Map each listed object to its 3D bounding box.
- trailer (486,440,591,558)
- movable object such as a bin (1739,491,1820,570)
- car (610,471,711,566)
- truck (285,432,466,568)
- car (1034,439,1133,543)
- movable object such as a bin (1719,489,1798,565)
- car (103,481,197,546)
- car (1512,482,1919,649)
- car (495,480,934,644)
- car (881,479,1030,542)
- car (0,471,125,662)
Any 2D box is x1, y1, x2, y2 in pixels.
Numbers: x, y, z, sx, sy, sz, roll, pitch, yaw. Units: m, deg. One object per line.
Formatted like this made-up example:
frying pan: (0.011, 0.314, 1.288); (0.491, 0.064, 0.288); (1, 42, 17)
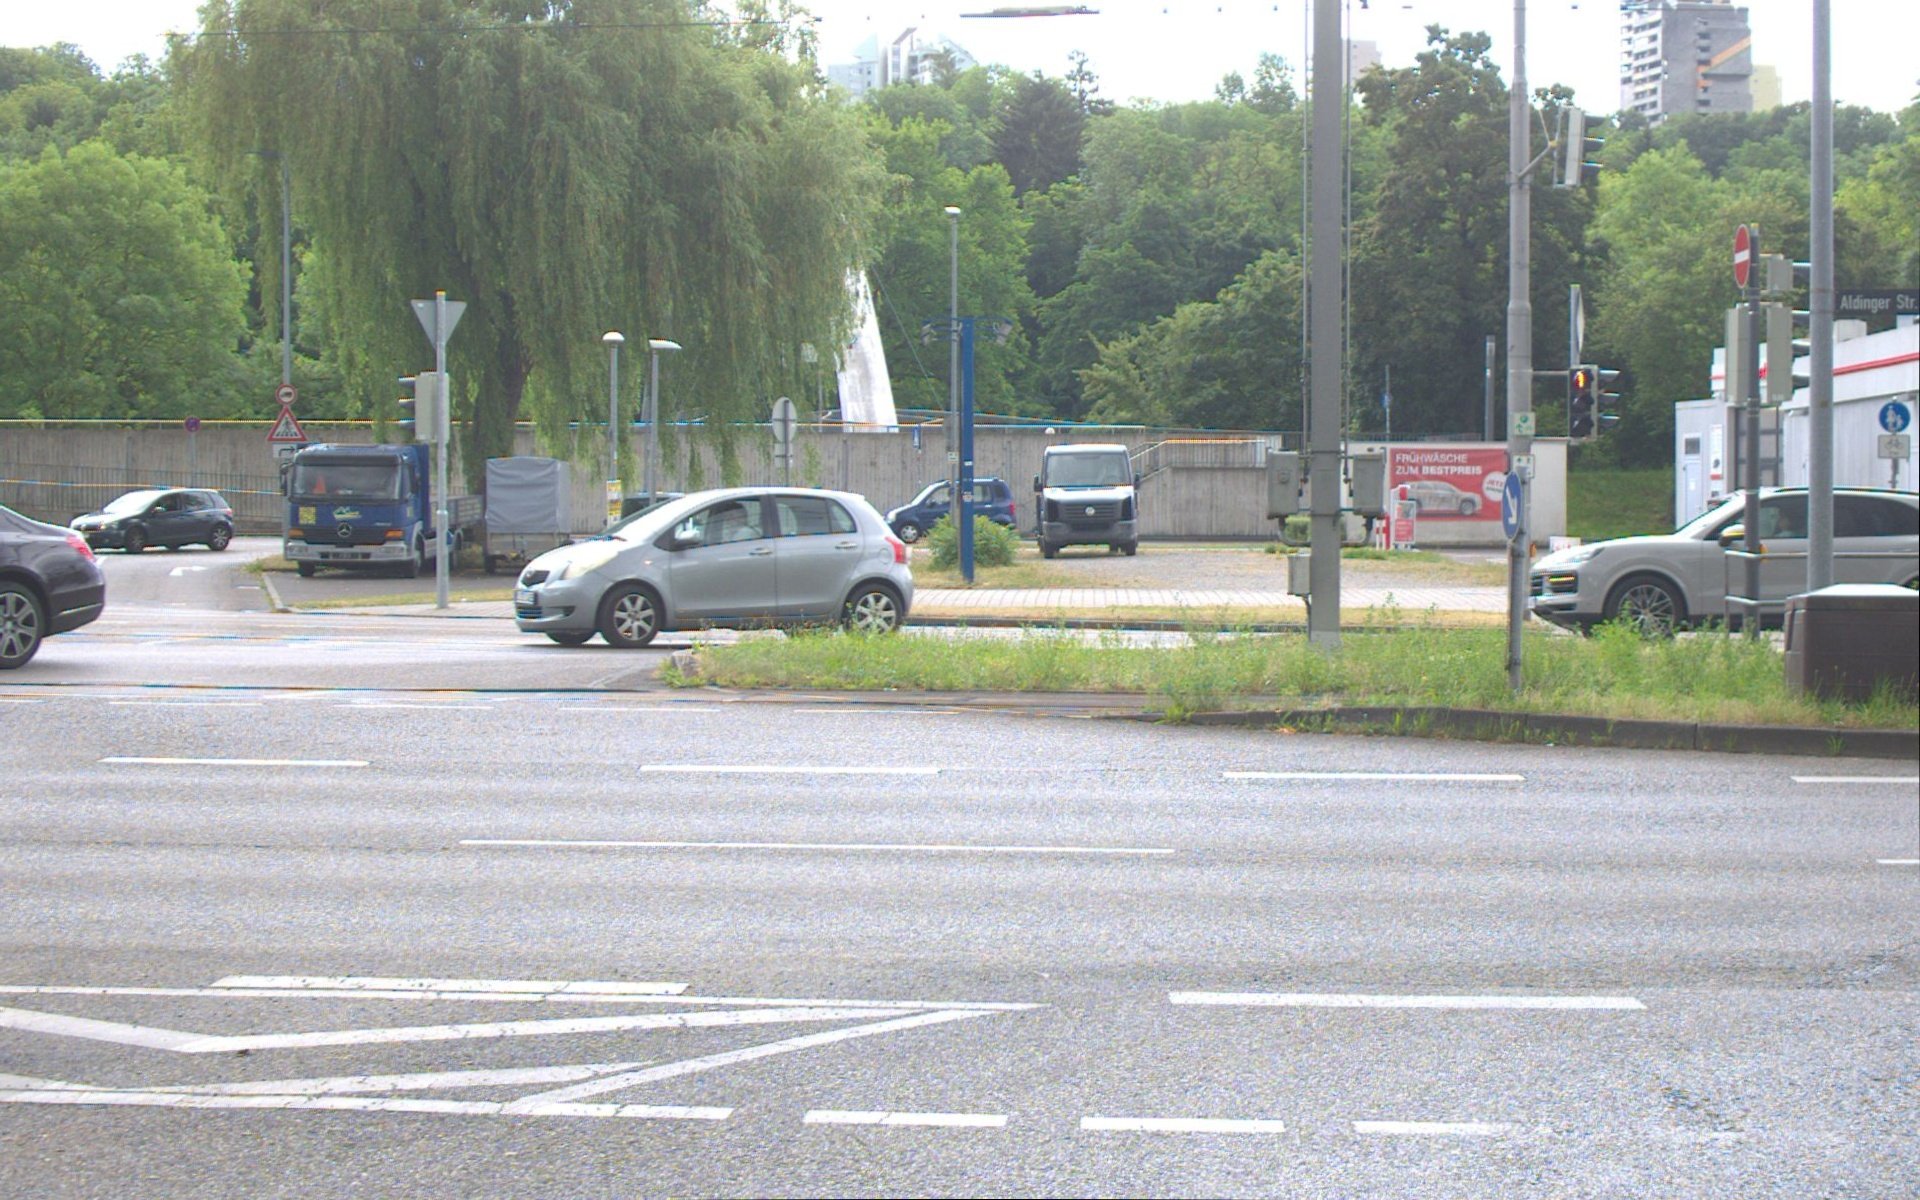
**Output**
trailer: (-8.376, -1.984, 68.613); (1.555, 2.250, 4.392); (1, 1, 0)
movable object such as a bin: (15.689, -1.323, 65.863); (1.368, 1.489, 1.104); (1, 0, 6)
car: (-5.842, -1.626, 67.448); (1.749, 1.737, 3.858); (1, 3, -2)
truck: (-11.232, -1.939, 66.497); (2.379, 2.485, 5.826); (1, 2, 1)
car: (2.549, -2.242, 71.815); (1.840, 2.045, 4.382); (1, 1, -1)
movable object such as a bin: (15.753, -1.431, 67.857); (1.368, 1.479, 1.104); (1, 0, 6)
car: (-18.647, -2.008, 79.274); (1.790, 1.427, 4.285); (0, 2, -9)
car: (8.241, -0.368, 35.403); (4.839, 1.636, 1.677); (1, 2, 1)
car: (-2.319, -0.373, 32.478); (3.775, 1.482, 1.677); (0, 2, -25)
car: (-0.140, -2.293, 88.492); (3.628, 1.549, 1.728); (1, 0, -7)
car: (-8.823, -0.255, 25.609); (1.829, 1.445, 4.984); (2, 2, 38)
